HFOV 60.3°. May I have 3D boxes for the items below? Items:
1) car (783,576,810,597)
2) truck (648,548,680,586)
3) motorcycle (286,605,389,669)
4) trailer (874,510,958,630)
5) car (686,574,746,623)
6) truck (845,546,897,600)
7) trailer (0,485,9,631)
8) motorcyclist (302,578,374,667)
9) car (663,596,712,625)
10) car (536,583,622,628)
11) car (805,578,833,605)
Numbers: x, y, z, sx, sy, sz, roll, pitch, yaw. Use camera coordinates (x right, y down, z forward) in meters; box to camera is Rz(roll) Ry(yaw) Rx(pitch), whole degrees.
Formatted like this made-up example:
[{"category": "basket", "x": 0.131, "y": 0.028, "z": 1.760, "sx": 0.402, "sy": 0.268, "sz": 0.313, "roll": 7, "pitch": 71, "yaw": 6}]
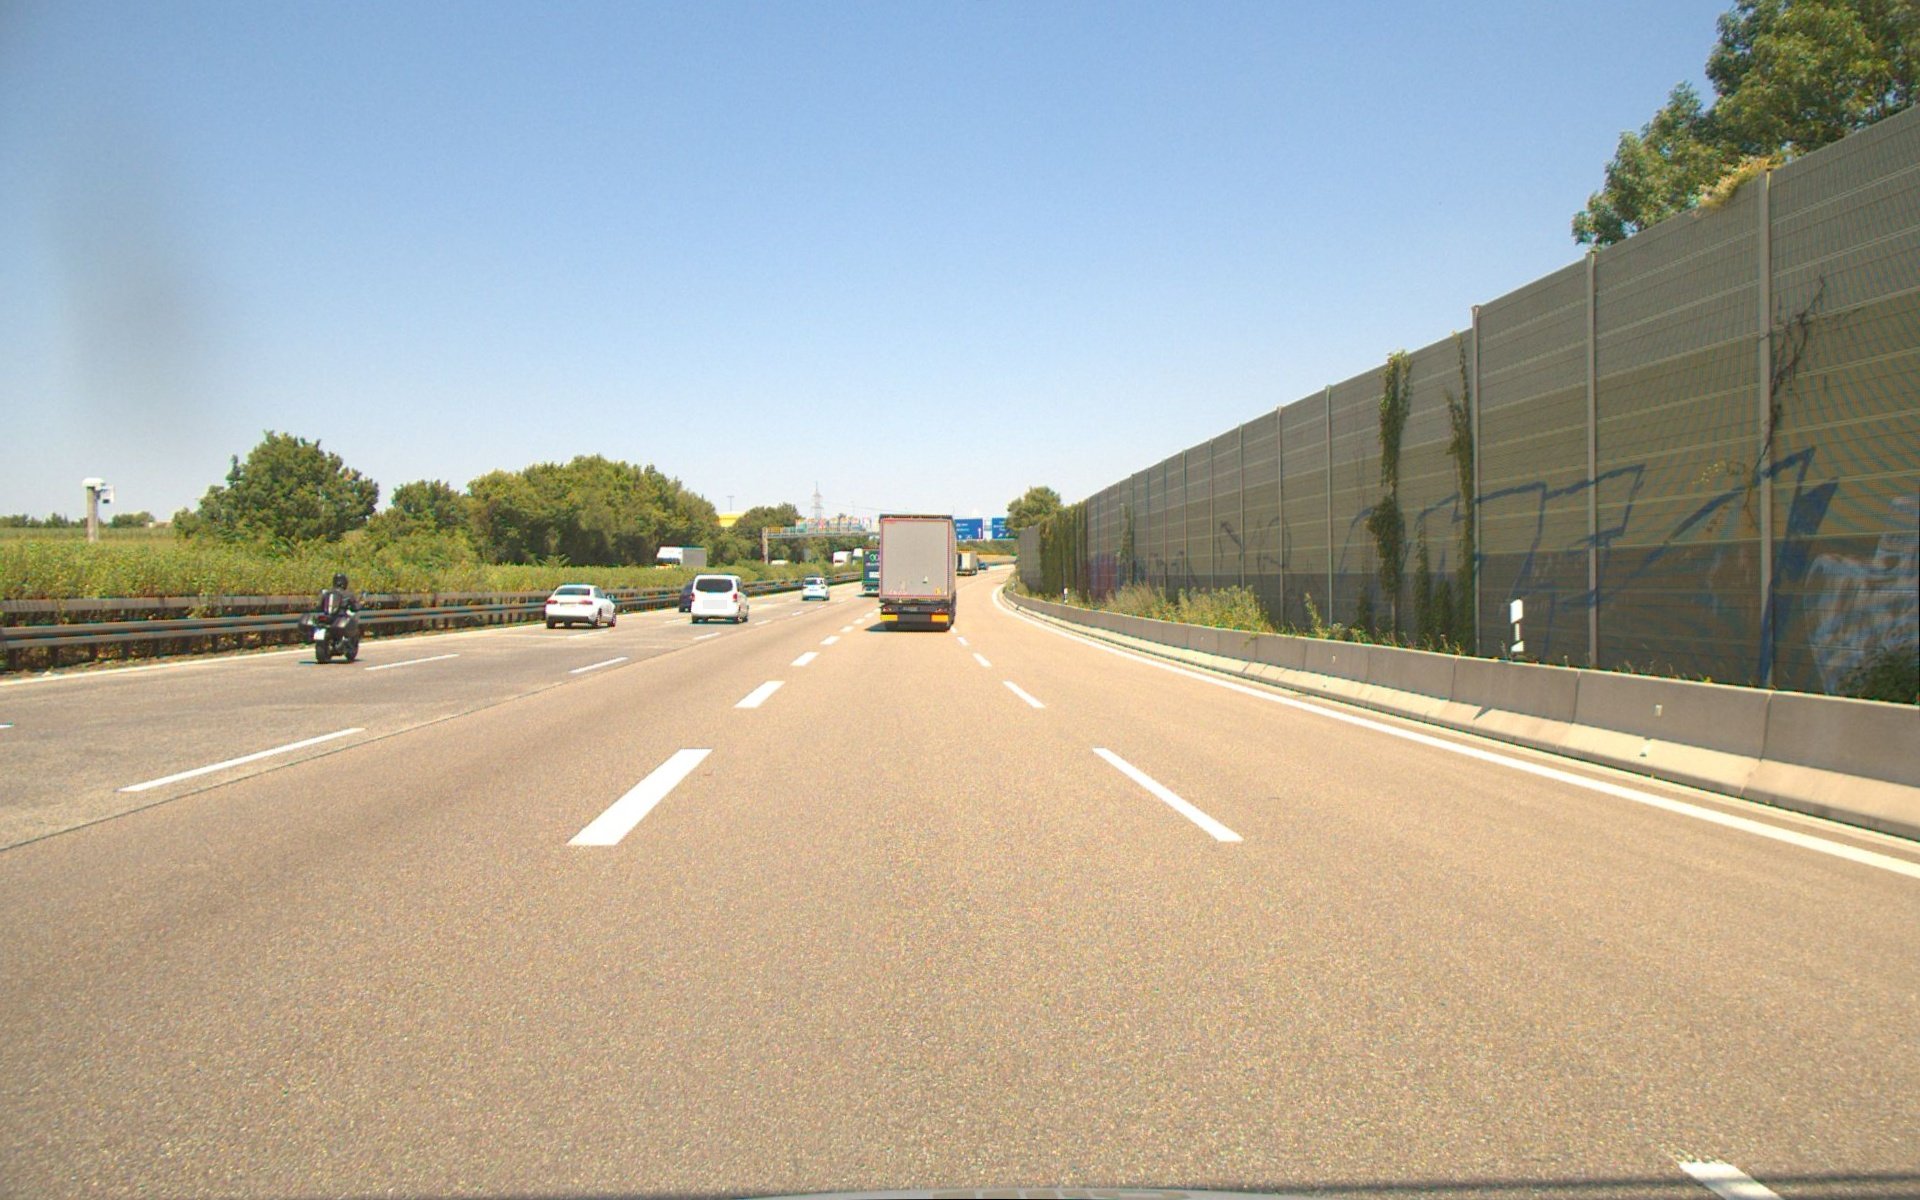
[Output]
[{"category": "car", "x": -14.647, "y": -1.243, "z": 148.463, "sx": 1.865, "sy": 1.718, "sz": 4.632, "roll": 0, "pitch": 2, "yaw": 1}, {"category": "truck", "x": -32.277, "y": -3.581, "z": 180.468, "sx": 2.486, "sy": 4.016, "sz": 5.167, "roll": 1, "pitch": 1, "yaw": 0}, {"category": "motorcycle", "x": -11.562, "y": 0.668, "z": 30.824, "sx": 0.894, "sy": 1.108, "sz": 2.849, "roll": 0, "pitch": 0, "yaw": -1}, {"category": "trailer", "x": -1.805, "y": -1.075, "z": 62.785, "sx": 2.869, "sy": 4.085, "sz": 12.032, "roll": 0, "pitch": 0, "yaw": -3}, {"category": "car", "x": -9.673, "y": -0.031, "z": 65.770, "sx": 1.892, "sy": 1.884, "sz": 4.689, "roll": 0, "pitch": -1, "yaw": -3}, {"category": "truck", "x": -7.644, "y": -2.426, "z": 143.916, "sx": 3.670, "sy": 4.344, "sz": 14.497, "roll": 1, "pitch": 2, "yaw": 0}, {"category": "trailer", "x": -27.660, "y": -1.157, "z": 41.623, "sx": 2.865, "sy": 4.037, "sz": 8.652, "roll": 1, "pitch": 0, "yaw": -4}, {"category": "motorcyclist", "x": -11.575, "y": 0.402, "z": 30.805, "sx": 0.875, "sy": 1.625, "sz": 1.299, "roll": 0, "pitch": 0, "yaw": -1}, {"category": "car", "x": -13.979, "y": 0.529, "z": 85.030, "sx": 1.721, "sy": 1.433, "sz": 5.039, "roll": 0, "pitch": -1, "yaw": 0}, {"category": "car", "x": -12.985, "y": 0.178, "z": 56.656, "sx": 1.838, "sy": 1.466, "sz": 5.125, "roll": 0, "pitch": 0, "yaw": -1}, {"category": "car", "x": -10.271, "y": -0.664, "z": 120.832, "sx": 1.866, "sy": 1.884, "sz": 4.629, "roll": 0, "pitch": 1, "yaw": -3}]
